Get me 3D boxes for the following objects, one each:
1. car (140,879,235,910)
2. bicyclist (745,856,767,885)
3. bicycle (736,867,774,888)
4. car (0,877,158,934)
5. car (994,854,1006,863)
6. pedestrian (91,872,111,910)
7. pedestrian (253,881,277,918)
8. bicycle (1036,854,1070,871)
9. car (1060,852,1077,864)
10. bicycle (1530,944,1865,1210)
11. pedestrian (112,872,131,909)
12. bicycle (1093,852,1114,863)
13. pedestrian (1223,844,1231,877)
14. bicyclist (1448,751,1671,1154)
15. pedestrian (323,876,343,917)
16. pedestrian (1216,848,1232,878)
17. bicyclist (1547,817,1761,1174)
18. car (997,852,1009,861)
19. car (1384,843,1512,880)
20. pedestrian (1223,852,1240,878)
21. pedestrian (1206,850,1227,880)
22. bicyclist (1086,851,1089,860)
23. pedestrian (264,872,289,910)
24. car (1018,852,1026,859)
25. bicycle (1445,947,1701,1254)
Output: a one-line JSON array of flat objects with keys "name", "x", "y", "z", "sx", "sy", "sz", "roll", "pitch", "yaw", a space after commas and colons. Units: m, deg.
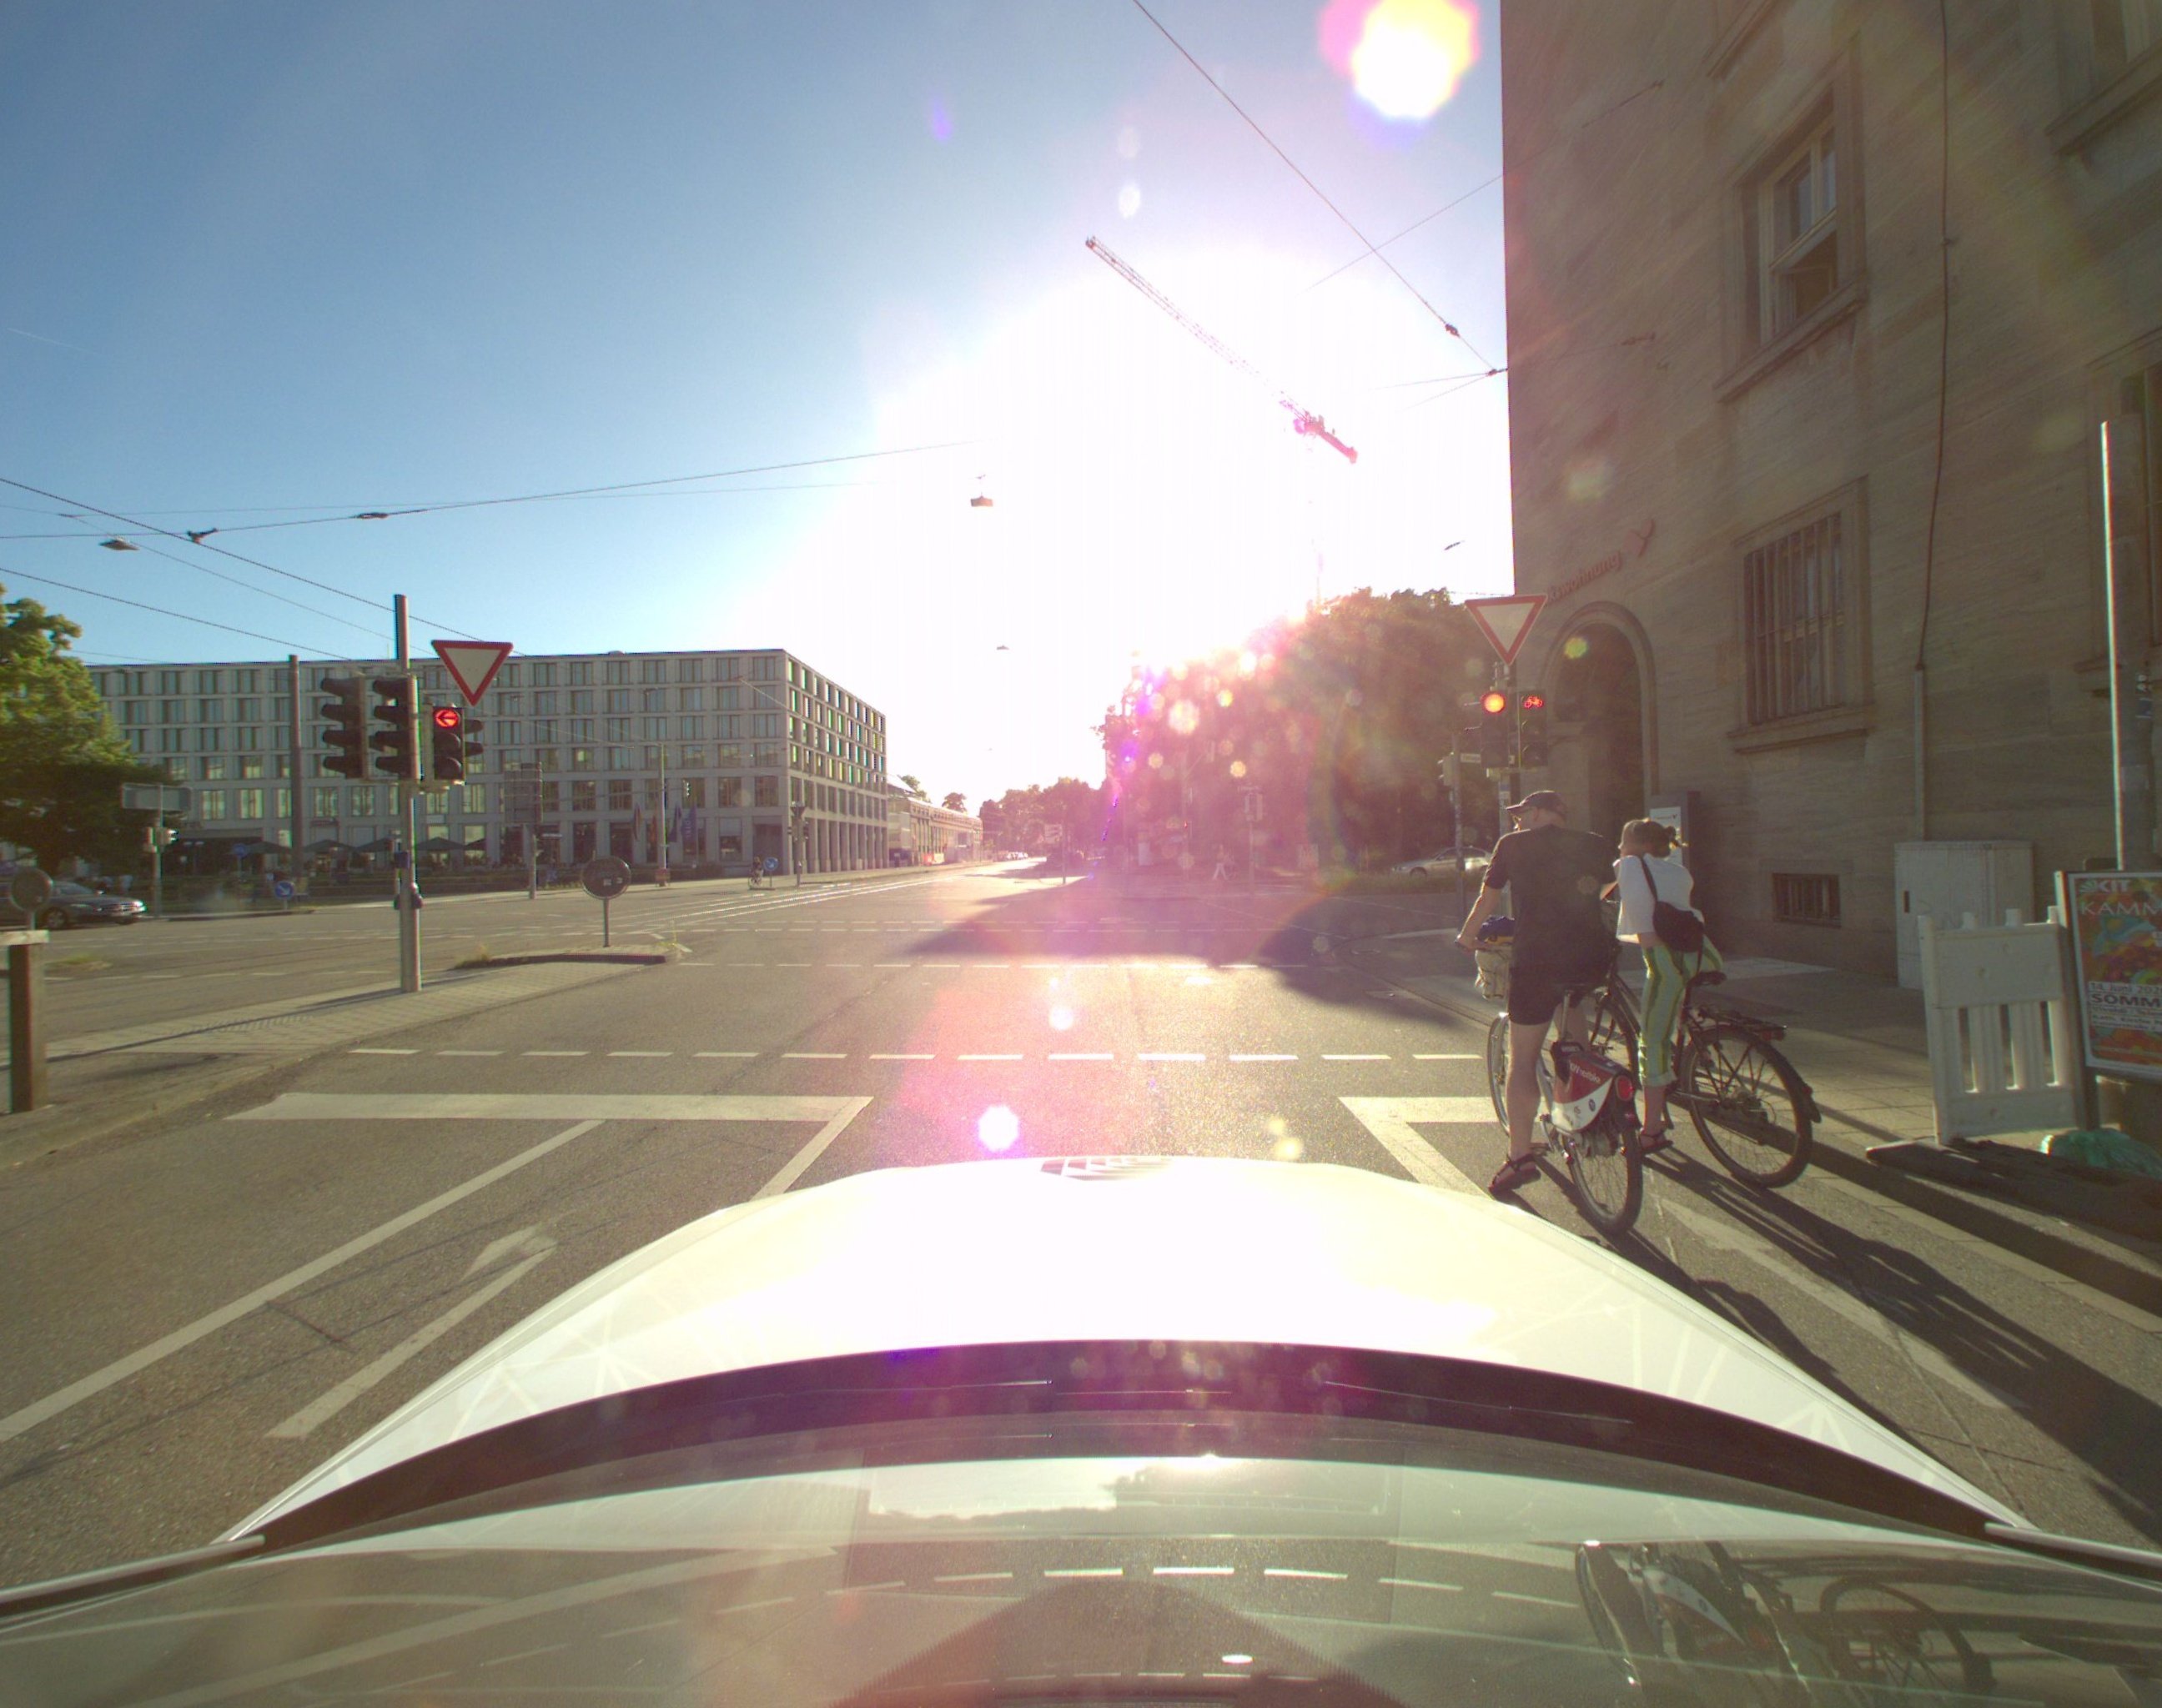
[{"name": "car", "x": -46.897, "y": 2.125, "z": 42.793, "sx": 3.177, "sy": 1.438, "sz": 1.470, "roll": -2, "pitch": 0, "yaw": -3}, {"name": "bicyclist", "x": -19.221, "y": 0.958, "z": 48.163, "sx": 0.872, "sy": 1.641, "sz": 0.822, "roll": -2, "pitch": 0, "yaw": 3}, {"name": "bicycle", "x": -19.233, "y": 1.391, "z": 48.111, "sx": 0.872, "sy": 1.121, "sz": 3.015, "roll": -2, "pitch": 0, "yaw": 3}, {"name": "car", "x": -31.718, "y": 1.578, "z": 25.244, "sx": 4.147, "sy": 1.574, "sz": 1.728, "roll": -2, "pitch": 0, "yaw": 0}, {"name": "car", "x": -15.587, "y": 0.840, "z": 156.694, "sx": 1.724, "sy": 1.653, "sz": 4.002, "roll": -2, "pitch": 0, "yaw": 2}, {"name": "pedestrian", "x": -52.791, "y": 2.000, "z": 43.849, "sx": 0.490, "sy": 2.013, "sz": 0.493, "roll": -2, "pitch": 0, "yaw": 14}, {"name": "pedestrian", "x": -45.869, "y": 2.545, "z": 45.790, "sx": 0.528, "sy": 2.013, "sz": 0.800, "roll": -2, "pitch": 0, "yaw": -5}, {"name": "bicycle", "x": -2.325, "y": 0.730, "z": 67.361, "sx": 2.728, "sy": 1.367, "sz": 0.633, "roll": -1, "pitch": -1, "yaw": 12}, {"name": "car", "x": -1.387, "y": 0.440, "z": 92.550, "sx": 1.814, "sy": 1.279, "sz": 3.999, "roll": -2, "pitch": 0, "yaw": 0}, {"name": "bicycle", "x": 3.088, "y": 1.035, "z": 4.348, "sx": 0.424, "sy": 0.876, "sz": 1.953, "roll": -2, "pitch": 0, "yaw": 5}, {"name": "pedestrian", "x": -52.713, "y": 2.006, "z": 44.734, "sx": 0.490, "sy": 2.013, "sz": 0.493, "roll": -2, "pitch": 0, "yaw": 14}, {"name": "bicycle", "x": 2.805, "y": 0.441, "z": 103.322, "sx": 2.568, "sy": 1.288, "sz": 0.726, "roll": 0, "pitch": -1, "yaw": -9}, {"name": "pedestrian", "x": 7.963, "y": 0.344, "z": 44.370, "sx": 0.358, "sy": 1.804, "sz": 0.508, "roll": -2, "pitch": 0, "yaw": 14}, {"name": "bicyclist", "x": 2.167, "y": 0.417, "z": 3.775, "sx": 0.665, "sy": 1.678, "sz": 0.659, "roll": -2, "pitch": 0, "yaw": 11}, {"name": "pedestrian", "x": -42.311, "y": 2.411, "z": 46.077, "sx": 0.568, "sy": 2.280, "sz": 0.533, "roll": -2, "pitch": 0, "yaw": -5}, {"name": "pedestrian", "x": 7.825, "y": 0.478, "z": 44.548, "sx": 0.792, "sy": 1.639, "sz": 0.534, "roll": -2, "pitch": 0, "yaw": 4}, {"name": "bicyclist", "x": 2.957, "y": 0.672, "z": 4.286, "sx": 0.519, "sy": 1.679, "sz": 0.860, "roll": -2, "pitch": 0, "yaw": 5}, {"name": "car", "x": -15.427, "y": 0.420, "z": 160.728, "sx": 1.724, "sy": 1.653, "sz": 4.002, "roll": -2, "pitch": 0, "yaw": 2}, {"name": "car", "x": 14.866, "y": 0.286, "z": 33.163, "sx": 4.422, "sy": 1.329, "sz": 1.778, "roll": -2, "pitch": 0, "yaw": 4}, {"name": "pedestrian", "x": 7.997, "y": 0.582, "z": 43.292, "sx": 0.749, "sy": 1.332, "sz": 0.743, "roll": -2, "pitch": 0, "yaw": 3}, {"name": "pedestrian", "x": 7.315, "y": 0.572, "z": 43.924, "sx": 0.980, "sy": 1.587, "sz": 0.661, "roll": -2, "pitch": -1, "yaw": 3}, {"name": "bicyclist", "x": 0.816, "y": 0.171, "z": 98.624, "sx": 0.316, "sy": 1.127, "sz": 0.292, "roll": -1, "pitch": -1, "yaw": 12}, {"name": "pedestrian", "x": -44.293, "y": 2.022, "z": 44.844, "sx": 0.648, "sy": 2.068, "sz": 0.649, "roll": -2, "pitch": 0, "yaw": -5}, {"name": "car", "x": -14.048, "y": 0.328, "z": 194.787, "sx": 1.478, "sy": 1.750, "sz": 4.002, "roll": -2, "pitch": 0, "yaw": 2}, {"name": "bicycle", "x": 2.266, "y": 1.029, "z": 4.008, "sx": 0.387, "sy": 0.905, "sz": 1.956, "roll": -2, "pitch": 0, "yaw": 10}]
